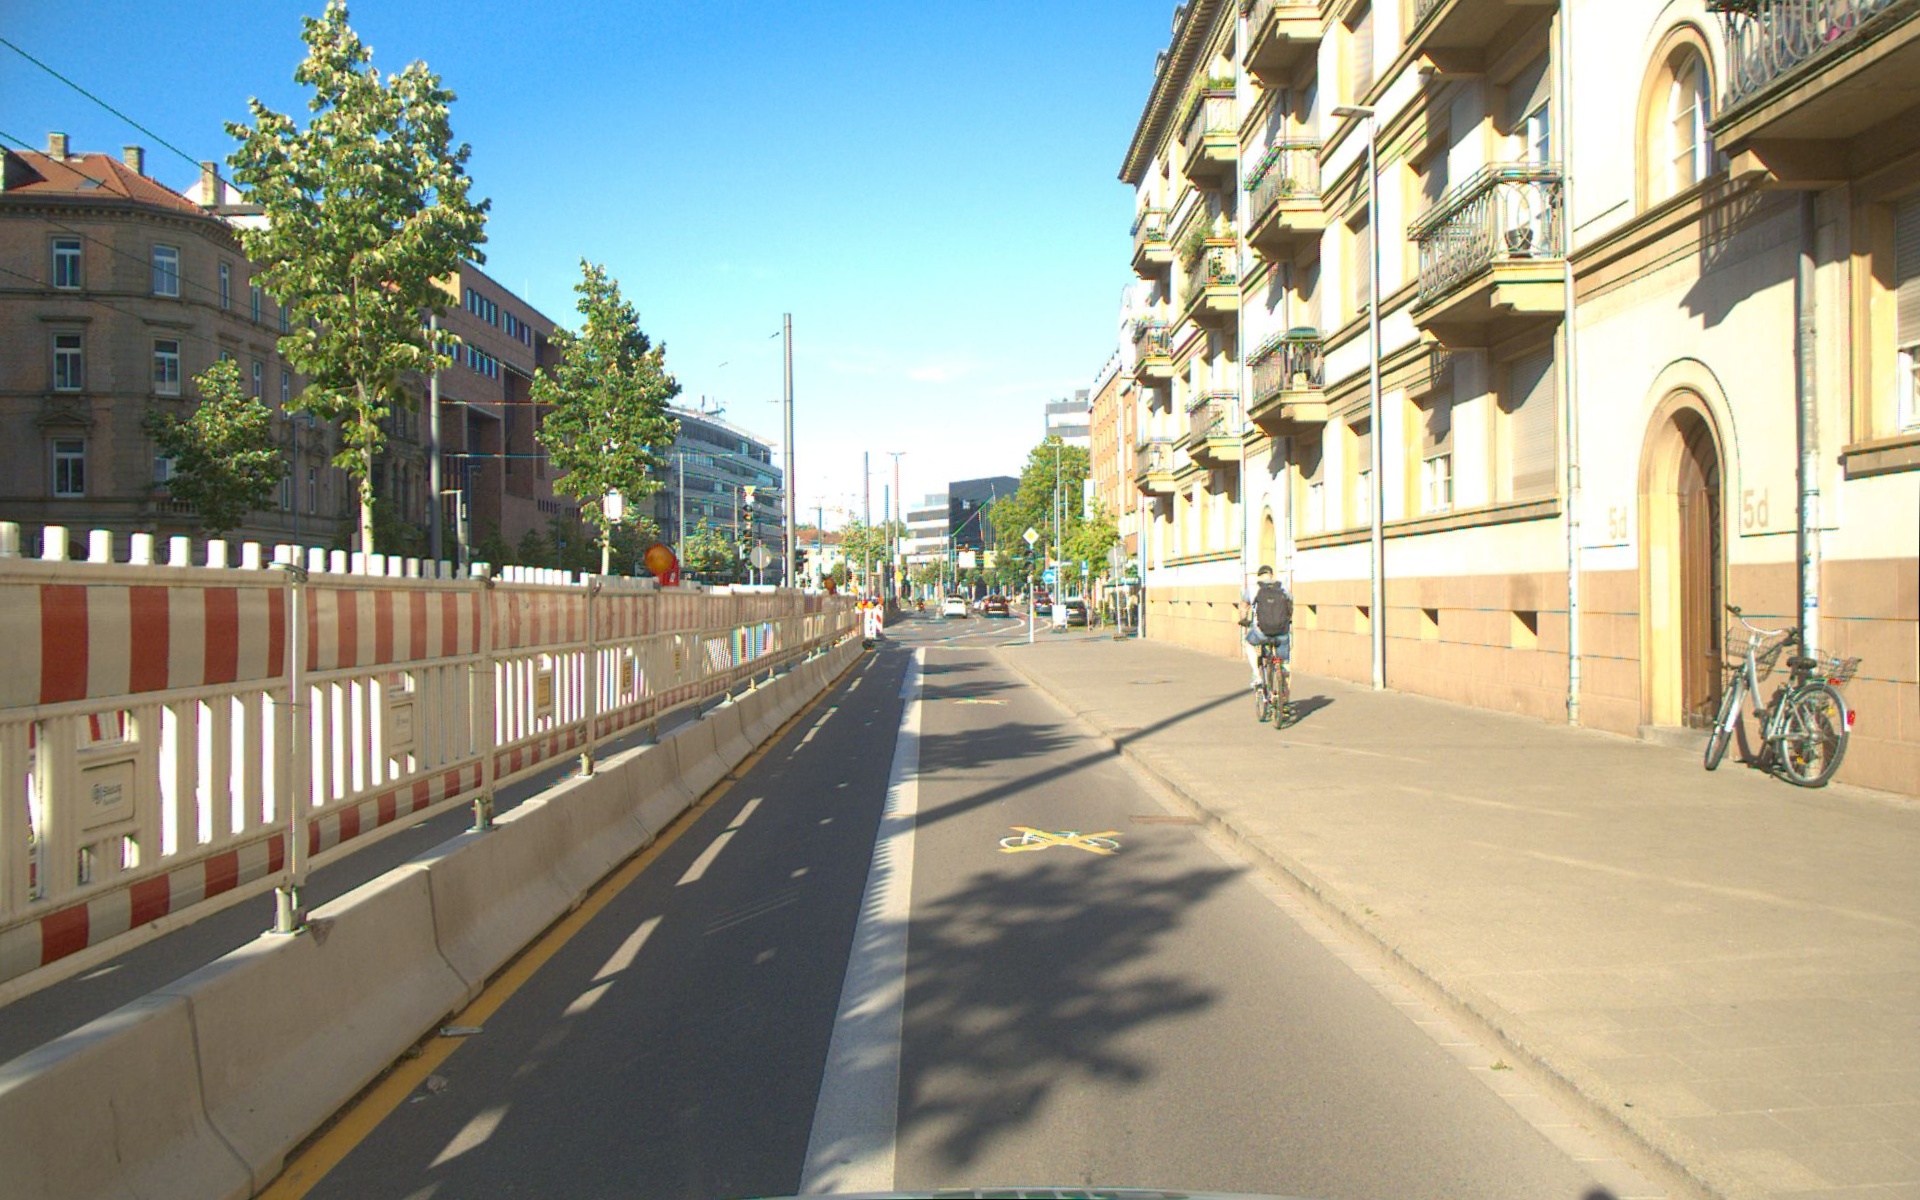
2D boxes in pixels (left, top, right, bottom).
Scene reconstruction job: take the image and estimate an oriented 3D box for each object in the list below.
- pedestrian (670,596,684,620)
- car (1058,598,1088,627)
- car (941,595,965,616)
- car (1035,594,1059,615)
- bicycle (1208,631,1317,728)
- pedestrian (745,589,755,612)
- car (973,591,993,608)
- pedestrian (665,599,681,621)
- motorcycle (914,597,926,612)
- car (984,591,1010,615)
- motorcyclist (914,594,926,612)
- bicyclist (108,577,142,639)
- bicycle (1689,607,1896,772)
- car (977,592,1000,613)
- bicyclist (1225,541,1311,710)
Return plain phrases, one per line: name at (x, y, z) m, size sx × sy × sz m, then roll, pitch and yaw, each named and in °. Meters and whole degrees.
pedestrian at (-15.934, 0.446, 93.096) m, size 0.633 × 1.331 × 0.721 m, roll -2°, pitch 0°, yaw -1°
car at (6.967, 0.744, 101.813) m, size 1.684 × 1.665 × 4.234 m, roll -1°, pitch 0°, yaw 5°
car at (-0.563, 0.402, 125.185) m, size 1.744 × 1.439 × 4.818 m, roll 1°, pitch 0°, yaw -1°
car at (7.501, 0.336, 142.867) m, size 1.809 × 1.587 × 4.633 m, roll 1°, pitch 2°, yaw 0°
bicycle at (3.351, 0.855, 18.528) m, size 0.752 × 0.969 × 2.197 m, roll -1°, pitch 0°, yaw -2°
pedestrian at (-16.450, 0.033, 129.652) m, size 0.627 × 1.725 × 0.541 m, roll 1°, pitch 0°, yaw -1°
car at (2.156, -0.069, 155.542) m, size 1.813 × 1.524 × 4.378 m, roll 0°, pitch 0°, yaw -1°
pedestrian at (-15.791, 0.529, 91.092) m, size 0.706 × 1.188 × 0.721 m, roll -2°, pitch 0°, yaw -1°
motorcycle at (-3.671, 0.416, 150.778) m, size 0.998 × 1.335 × 2.914 m, roll 1°, pitch 0°, yaw 0°
car at (2.926, 0.236, 130.832) m, size 1.934 × 1.790 × 4.632 m, roll 1°, pitch 0°, yaw 0°
motorcyclist at (-3.673, 0.238, 150.851) m, size 0.998 × 1.631 × 1.148 m, roll 1°, pitch 0°, yaw 0°
bicyclist at (-24.530, 0.231, 48.590) m, size 0.871 × 1.805 × 0.848 m, roll 0°, pitch 0°, yaw -27°
bicycle at (6.187, 0.615, 12.431) m, size 0.409 × 1.114 × 2.198 m, roll -1°, pitch 0°, yaw -1°
car at (2.374, 0.231, 138.614) m, size 1.813 × 1.668 × 4.377 m, roll 1°, pitch -1°, yaw -1°
bicyclist at (3.369, 0.269, 18.150) m, size 0.718 × 1.794 × 0.937 m, roll -1°, pitch 0°, yaw -2°
